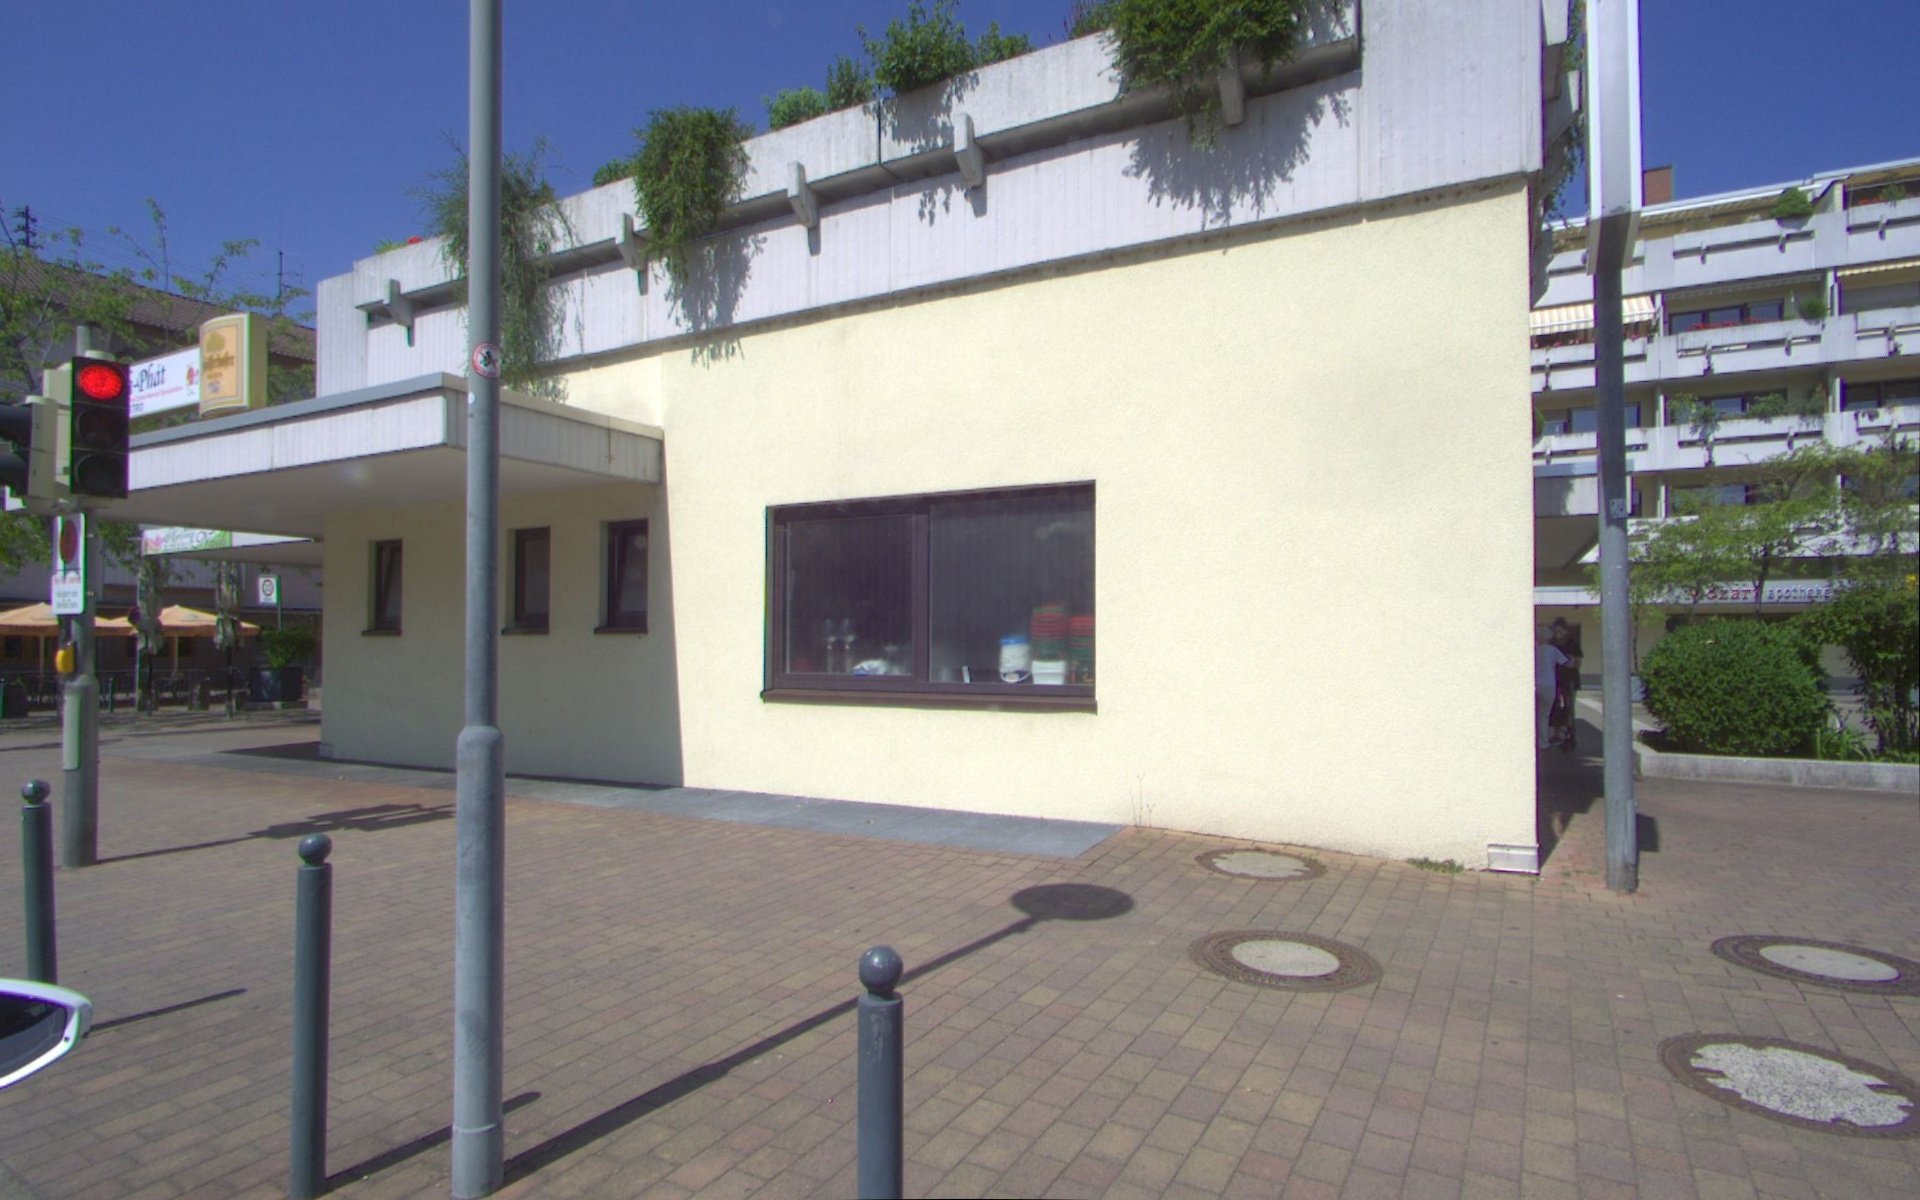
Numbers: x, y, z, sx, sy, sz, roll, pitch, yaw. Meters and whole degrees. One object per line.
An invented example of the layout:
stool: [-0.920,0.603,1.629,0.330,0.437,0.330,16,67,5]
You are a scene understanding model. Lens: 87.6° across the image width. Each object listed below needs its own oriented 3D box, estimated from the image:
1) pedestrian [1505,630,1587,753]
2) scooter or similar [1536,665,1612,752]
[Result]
pedestrian: [7.536,1.151,12.884,0.801,1.516,0.615,1,-2,-35]
scooter or similar: [8.169,1.422,13.324,0.795,1.088,0.587,2,-2,-35]
